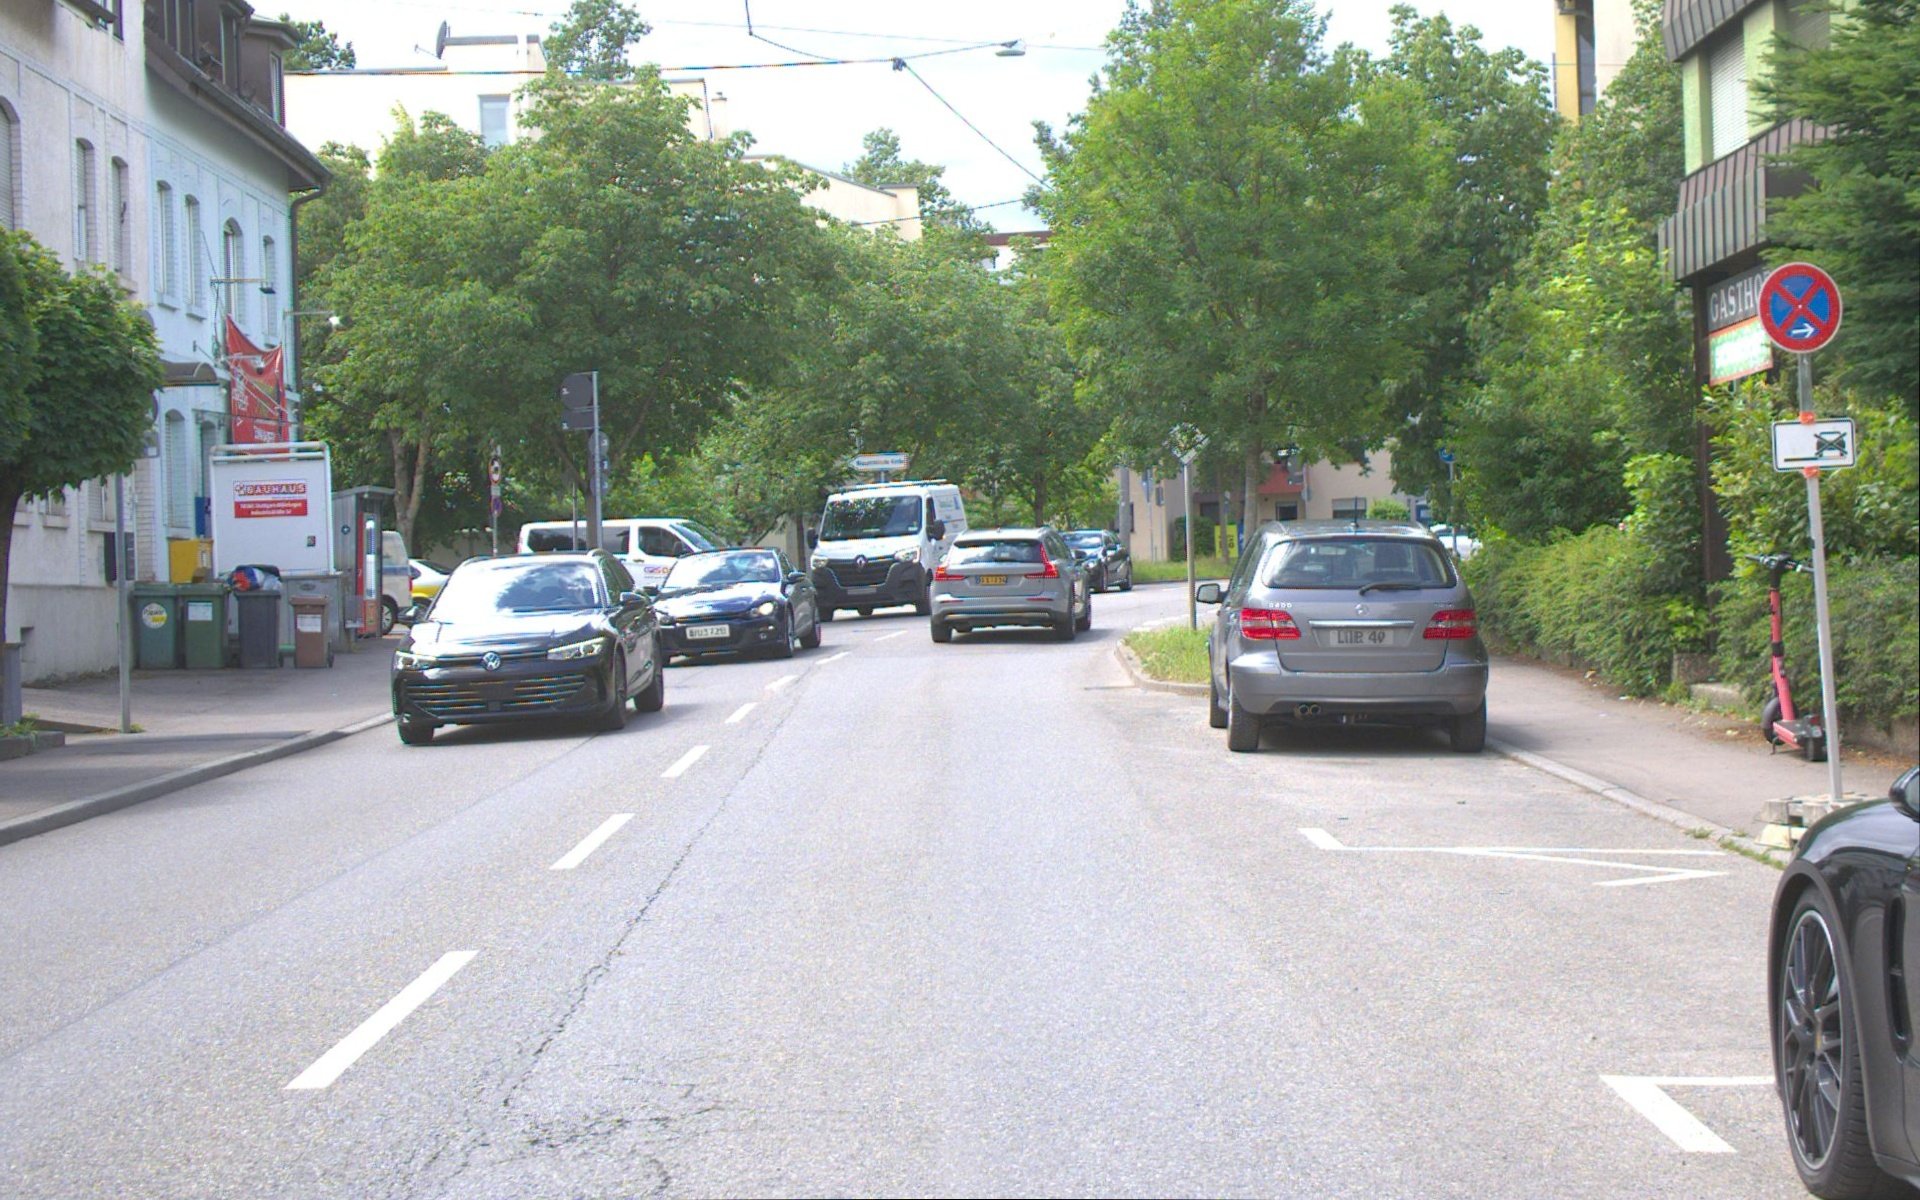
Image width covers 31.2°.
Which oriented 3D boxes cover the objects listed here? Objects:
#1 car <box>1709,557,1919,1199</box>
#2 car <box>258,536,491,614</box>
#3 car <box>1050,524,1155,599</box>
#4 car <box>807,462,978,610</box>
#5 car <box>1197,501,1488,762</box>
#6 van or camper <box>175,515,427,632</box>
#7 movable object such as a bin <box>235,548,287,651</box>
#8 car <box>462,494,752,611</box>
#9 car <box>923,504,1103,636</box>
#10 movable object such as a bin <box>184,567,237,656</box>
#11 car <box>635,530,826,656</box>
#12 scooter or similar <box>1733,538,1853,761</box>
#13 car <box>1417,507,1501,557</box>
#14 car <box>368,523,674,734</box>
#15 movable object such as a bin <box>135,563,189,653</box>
[{"bbox_3d":[2.841,0.618,5.960,1.984,1.443,4.752,-2,0,0],"label":"car"},{"bbox_3d":[-11.209,-0.470,65.896,4.018,1.408,1.815,-1,0,12],"label":"car"},{"bbox_3d":[3.186,-0.860,76.146,1.687,1.477,4.225,-5,0,10],"label":"car"},{"bbox_3d":[-1.122,-1.158,60.378,2.063,2.345,5.182,-4,1,8],"label":"car"},{"bbox_3d":[2.702,0.148,25.133,1.690,1.660,4.462,-2,2,2],"label":"car"},{"bbox_3d":[-11.732,-0.482,61.445,1.788,1.987,4.370,-1,0,35],"label":"van or camper"},{"bbox_3d":[-8.726,-0.013,42.918,0.564,1.268,0.563,0,1,-4],"label":"movable object such as a bin"},{"bbox_3d":[-7.014,-0.946,68.369,5.216,1.986,2.107,-3,1,18],"label":"car"},{"bbox_3d":[0.761,-0.439,45.863,1.956,1.518,4.329,-1,3,7],"label":"car"},{"bbox_3d":[-9.340,0.140,42.842,0.564,1.097,0.563,0,0,-4],"label":"movable object such as a bin"},{"bbox_3d":[-2.840,-0.116,43.420,1.770,1.420,4.108,-3,1,4],"label":"car"},{"bbox_3d":[5.135,0.285,21.249,0.301,1.300,1.404,-4,2,0],"label":"scooter or similar"},{"bbox_3d":[17.060,-2.319,117.426,1.806,1.611,4.324,2,1,22],"label":"car"},{"bbox_3d":[-3.639,0.201,29.249,1.776,1.518,4.462,-5,0,2],"label":"car"},{"bbox_3d":[-9.930,0.098,42.772,0.564,1.097,0.563,0,0,-4],"label":"movable object such as a bin"}]
